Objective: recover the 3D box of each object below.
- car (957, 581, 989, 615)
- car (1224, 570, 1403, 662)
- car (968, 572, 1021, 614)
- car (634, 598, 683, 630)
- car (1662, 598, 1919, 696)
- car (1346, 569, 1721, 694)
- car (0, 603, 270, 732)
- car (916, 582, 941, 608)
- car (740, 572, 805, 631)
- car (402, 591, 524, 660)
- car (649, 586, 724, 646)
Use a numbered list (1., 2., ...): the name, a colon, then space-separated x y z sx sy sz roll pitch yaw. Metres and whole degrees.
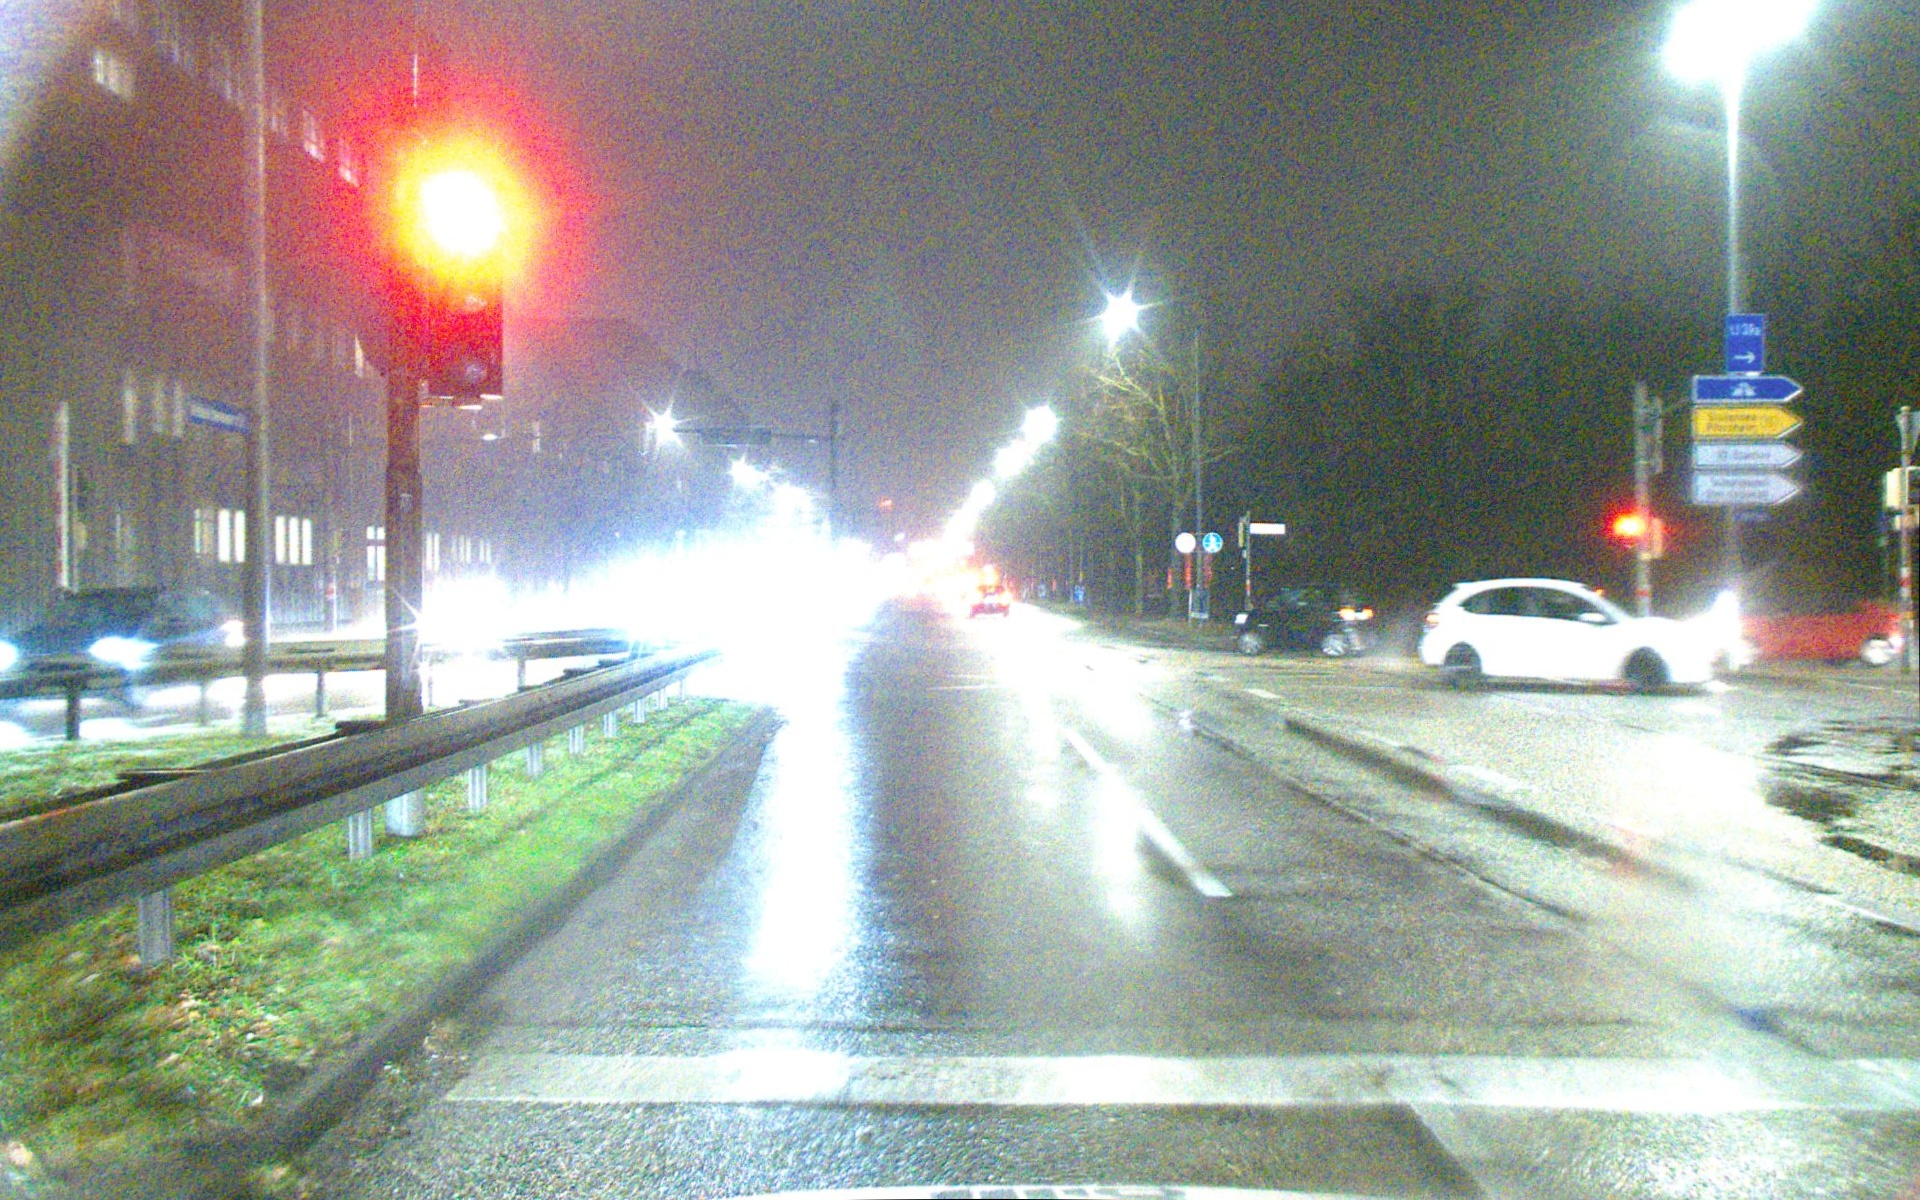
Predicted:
1. car: 0.868 -0.124 114.928 2.163 2.253 3.642 0 -1 -1
2. car: 7.477 0.325 35.005 3.353 1.870 1.684 0 -1 30
3. car: 1.487 -0.278 72.199 1.865 1.811 3.995 0 0 -5
4. car: -15.597 0.734 85.858 1.809 1.618 4.351 0 0 -1
5. car: 16.013 0.877 31.751 4.247 1.785 1.985 0 -1 4
6. car: 8.229 0.422 23.815 4.859 1.638 1.997 0 -1 28
7. car: -11.248 0.846 22.581 1.847 1.579 4.432 0 0 -1
8. car: -2.522 -0.405 133.525 1.953 2.049 3.999 0 0 -1
9. car: -6.733 0.055 59.724 1.953 2.049 3.999 -1 0 -1
10. car: -12.179 0.601 40.775 1.734 1.597 4.330 -1 0 -1
11. car: -8.755 0.498 53.188 1.746 1.847 3.999 -1 0 -1
